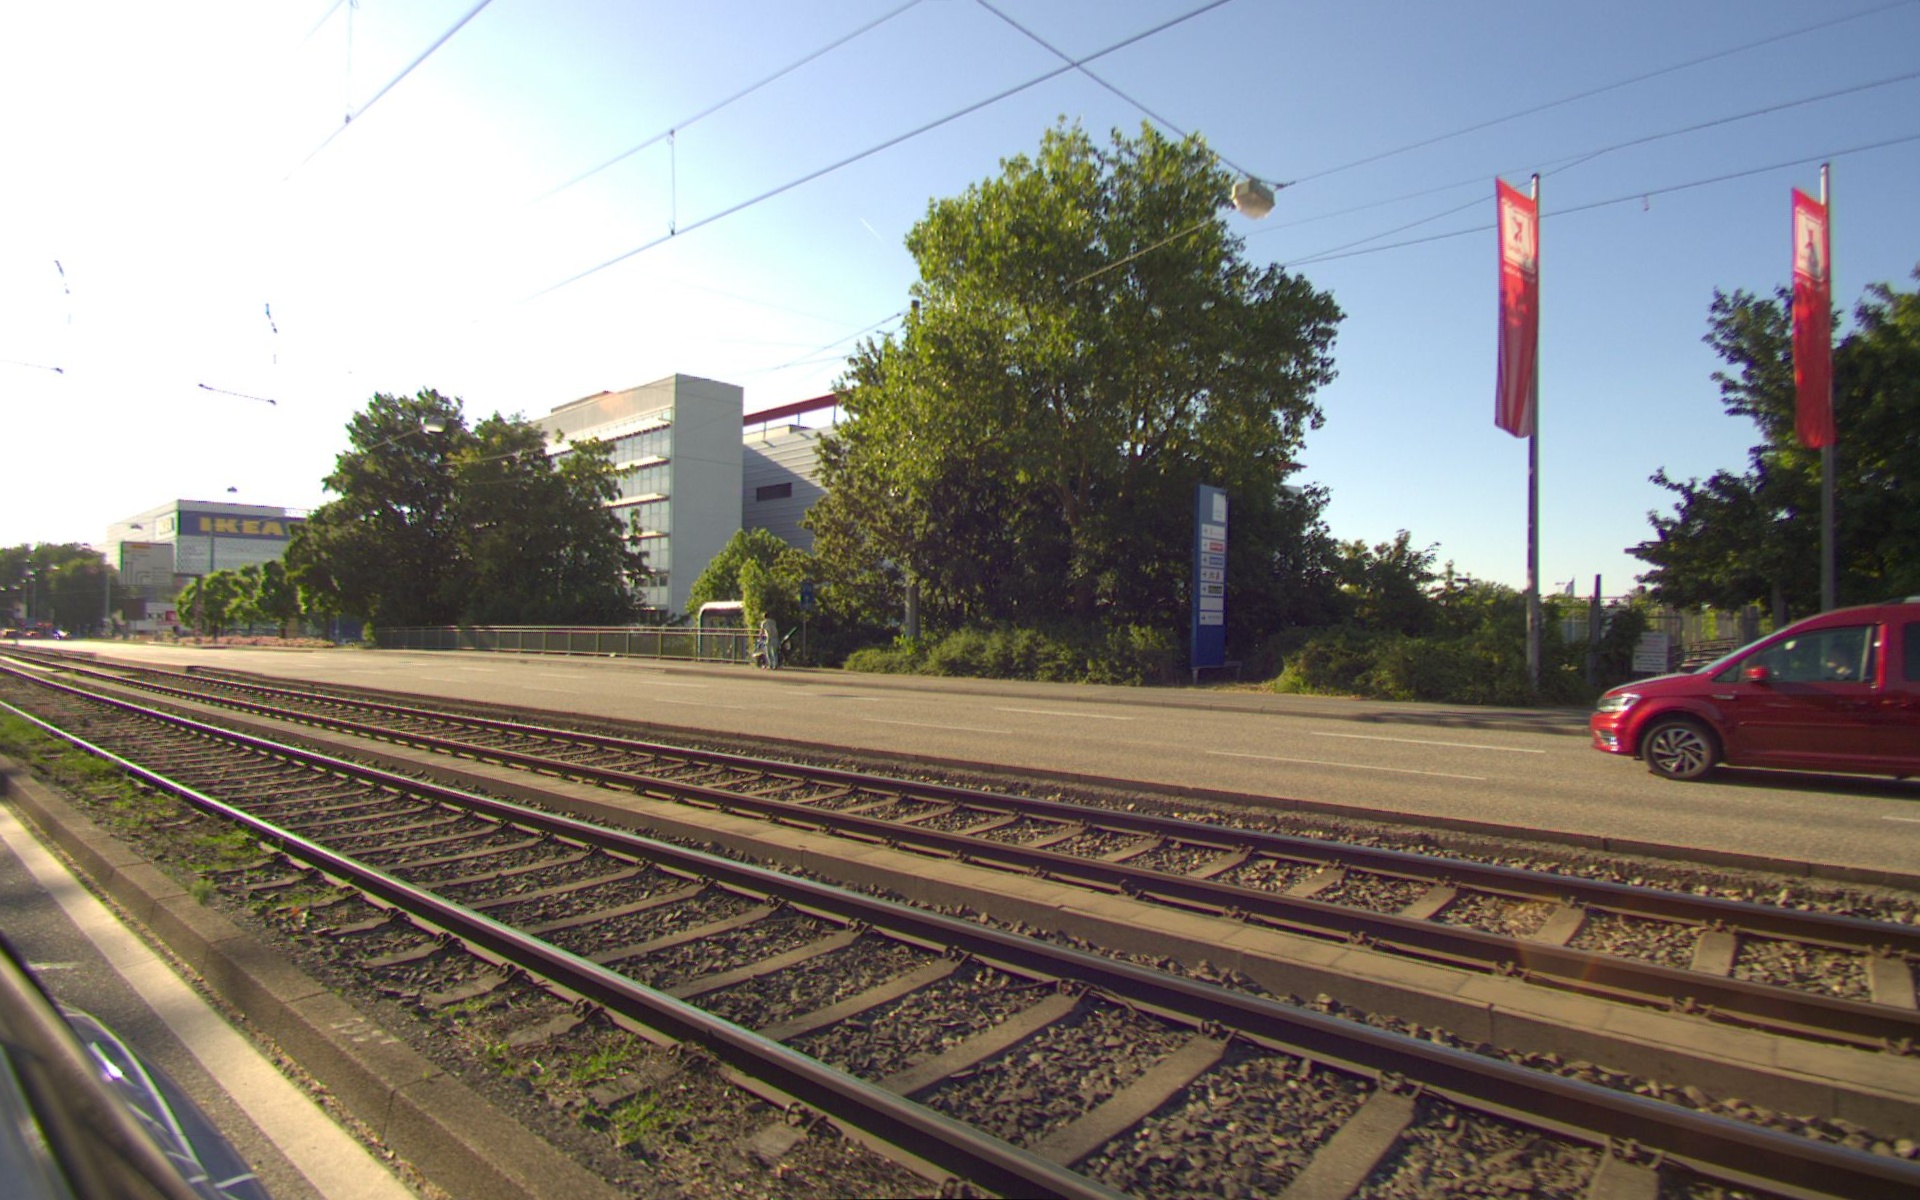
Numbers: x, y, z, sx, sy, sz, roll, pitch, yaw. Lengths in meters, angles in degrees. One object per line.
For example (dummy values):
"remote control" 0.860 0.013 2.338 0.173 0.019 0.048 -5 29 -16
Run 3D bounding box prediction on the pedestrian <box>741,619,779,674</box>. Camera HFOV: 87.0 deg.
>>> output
"pedestrian" -6.244 1.425 31.580 1.083 1.660 0.606 -1 0 41

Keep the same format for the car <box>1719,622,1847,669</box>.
"car" 32.943 1.777 40.551 3.895 1.696 1.767 -1 1 42

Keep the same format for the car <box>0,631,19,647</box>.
"car" -140.637 5.732 149.759 1.970 2.312 4.005 -1 0 -42

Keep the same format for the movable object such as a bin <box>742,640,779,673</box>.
"movable object such as a bin" -6.227 1.757 31.589 1.083 0.973 0.606 -1 0 41

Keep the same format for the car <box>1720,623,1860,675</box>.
"car" 30.399 1.749 37.143 3.895 1.696 1.767 -1 1 42

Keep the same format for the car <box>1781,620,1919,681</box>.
"car" 27.479 1.485 30.616 3.999 1.696 1.972 -1 1 42

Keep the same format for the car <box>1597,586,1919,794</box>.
"car" 8.832 0.820 9.722 4.348 1.809 1.972 -1 -2 41

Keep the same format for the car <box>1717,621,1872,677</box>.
"car" 27.871 1.585 33.875 3.895 1.696 1.767 -1 1 42
